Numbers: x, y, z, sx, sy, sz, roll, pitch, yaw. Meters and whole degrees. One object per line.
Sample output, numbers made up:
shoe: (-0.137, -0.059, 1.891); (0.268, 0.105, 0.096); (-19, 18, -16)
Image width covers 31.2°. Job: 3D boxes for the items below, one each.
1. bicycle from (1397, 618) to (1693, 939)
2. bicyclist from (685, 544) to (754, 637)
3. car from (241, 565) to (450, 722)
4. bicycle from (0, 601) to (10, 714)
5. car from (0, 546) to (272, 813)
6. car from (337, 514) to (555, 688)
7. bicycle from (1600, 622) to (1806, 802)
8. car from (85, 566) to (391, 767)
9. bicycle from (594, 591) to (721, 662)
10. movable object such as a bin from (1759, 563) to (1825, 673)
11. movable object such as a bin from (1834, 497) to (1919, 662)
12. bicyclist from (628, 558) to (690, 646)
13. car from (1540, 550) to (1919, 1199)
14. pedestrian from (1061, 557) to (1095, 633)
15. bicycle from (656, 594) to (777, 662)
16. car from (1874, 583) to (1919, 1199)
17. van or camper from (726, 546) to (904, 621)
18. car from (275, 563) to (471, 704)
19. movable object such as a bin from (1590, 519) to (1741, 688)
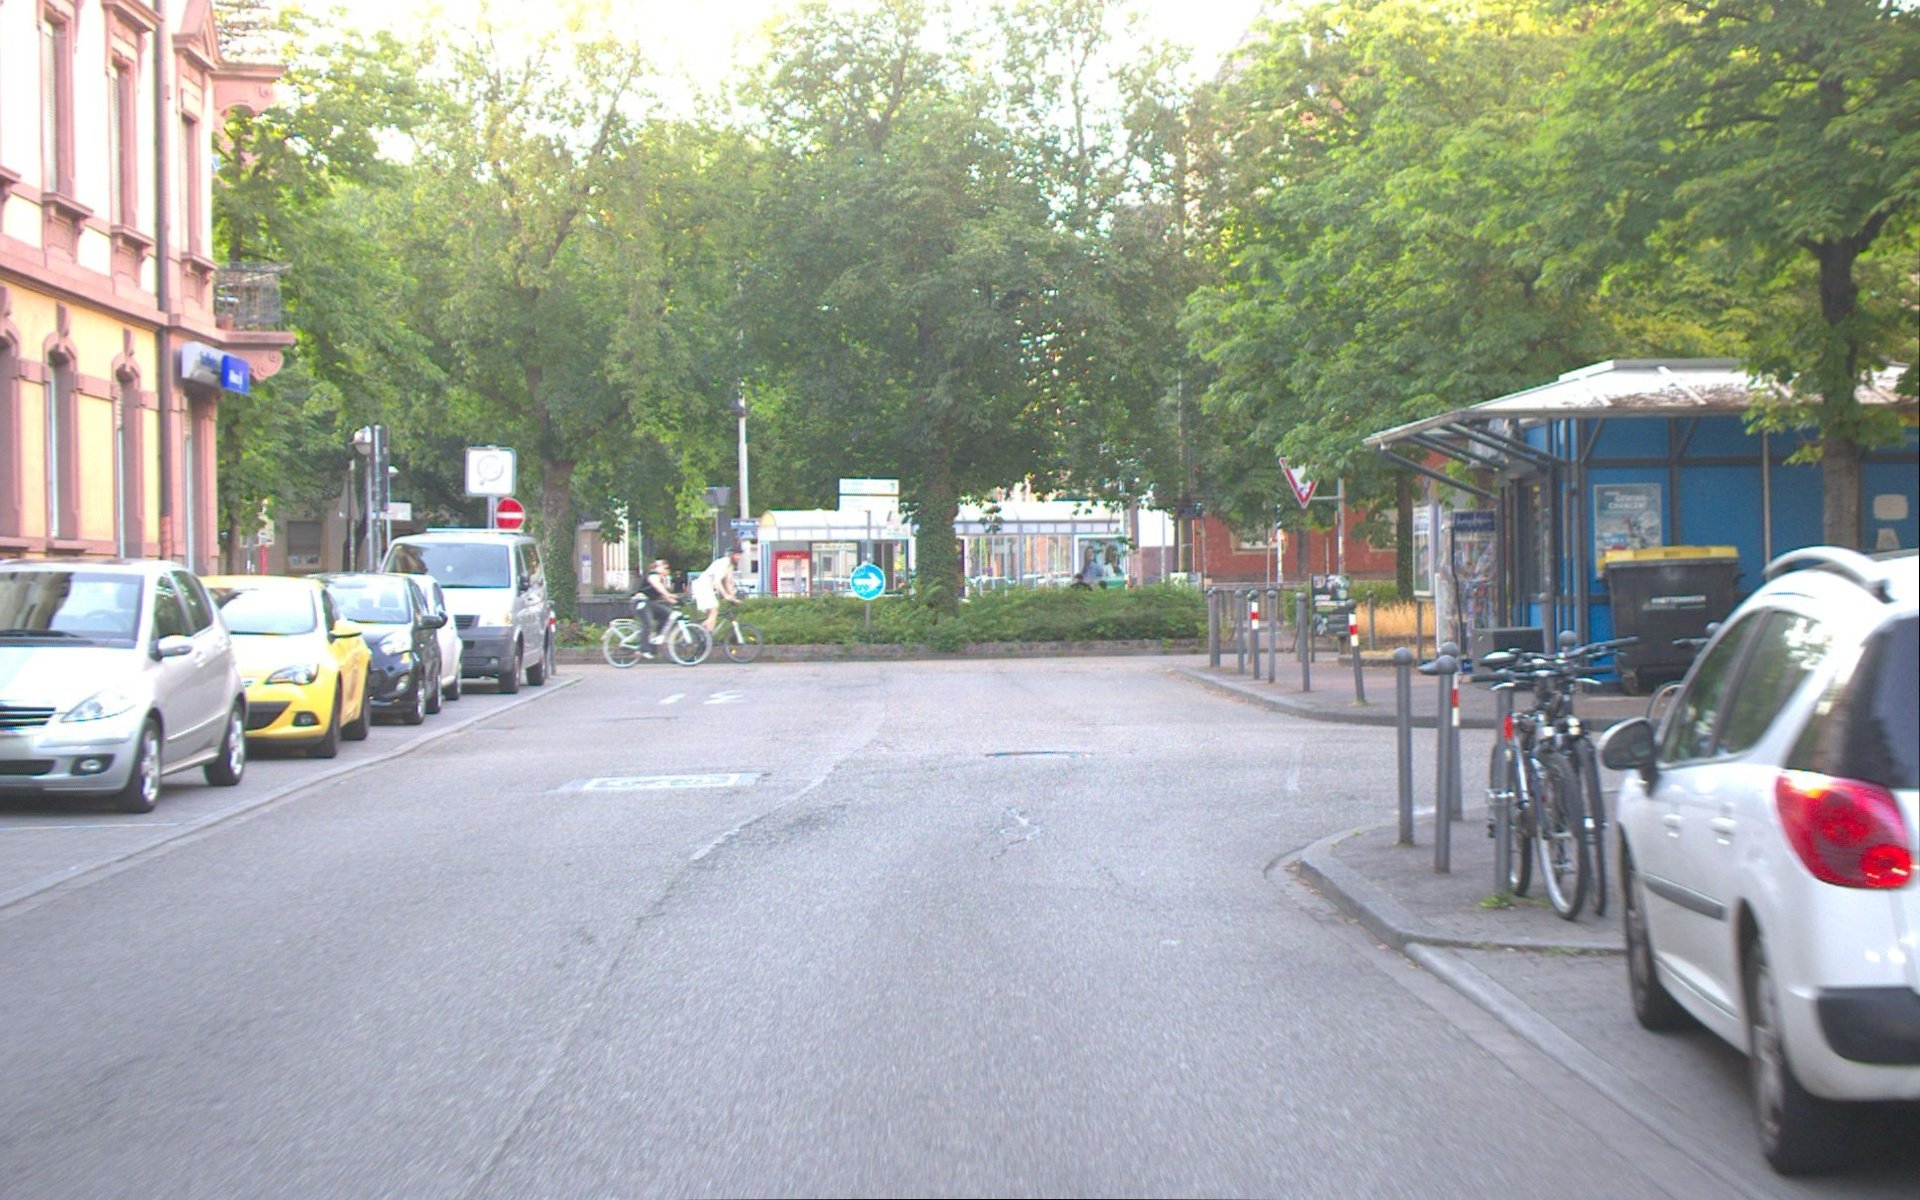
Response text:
bicycle: (2.373, 0.686, 14.204); (0.684, 1.147, 2.115); (-4, 1, -3)
bicyclist: (-3.922, -0.165, 56.183); (0.917, 1.497, 0.708); (-1, 0, 15)
car: (-6.138, 0.399, 34.675); (1.728, 1.486, 3.743); (1, 0, -5)
bicycle: (-9.414, 0.561, 32.094); (0.661, 1.066, 1.835); (-1, 1, -3)
car: (-5.884, 0.446, 22.740); (1.800, 1.587, 4.145); (1, 1, 0)
car: (-6.419, -0.011, 43.469); (2.040, 2.050, 5.005); (1, 0, -1)
bicycle: (4.524, 0.664, 20.888); (1.471, 1.036, 0.432); (-1, 0, -42)
car: (-6.020, 0.493, 29.190); (1.838, 1.520, 4.802); (1, 1, -4)
bicycle: (-4.728, 0.411, 53.781); (1.830, 1.066, 0.708); (-1, 1, 15)
movable object such as a bin: (7.684, 0.166, 31.756); (0.479, 0.998, 0.487); (-1, 1, 0)
movable object such as a bin: (8.799, -0.178, 31.702); (1.282, 1.470, 0.819); (3, 1, 8)
bicyclist: (-4.706, 0.025, 53.785); (0.736, 1.354, 0.708); (-1, 1, 15)
car: (2.850, 0.631, 9.790); (1.764, 1.479, 4.463); (-4, 1, 3)
pedestrian: (2.252, -0.096, 65.724); (0.616, 1.426, 0.655); (-1, 1, 0)
bicycle: (-3.978, 0.452, 56.200); (1.830, 1.066, 0.708); (-1, 1, 15)
car: (2.980, 0.675, 4.849); (1.763, 1.479, 4.558); (-4, 1, -5)
van or camper: (-6.154, -0.692, 145.535); (7.364, 3.072, 2.674); (0, 0, -5)
car: (-6.542, 0.344, 38.605); (1.684, 1.486, 3.614); (1, 0, -2)
movable object such as a bin: (6.502, 0.027, 31.736); (1.222, 1.470, 0.765); (-4, 0, 8)
